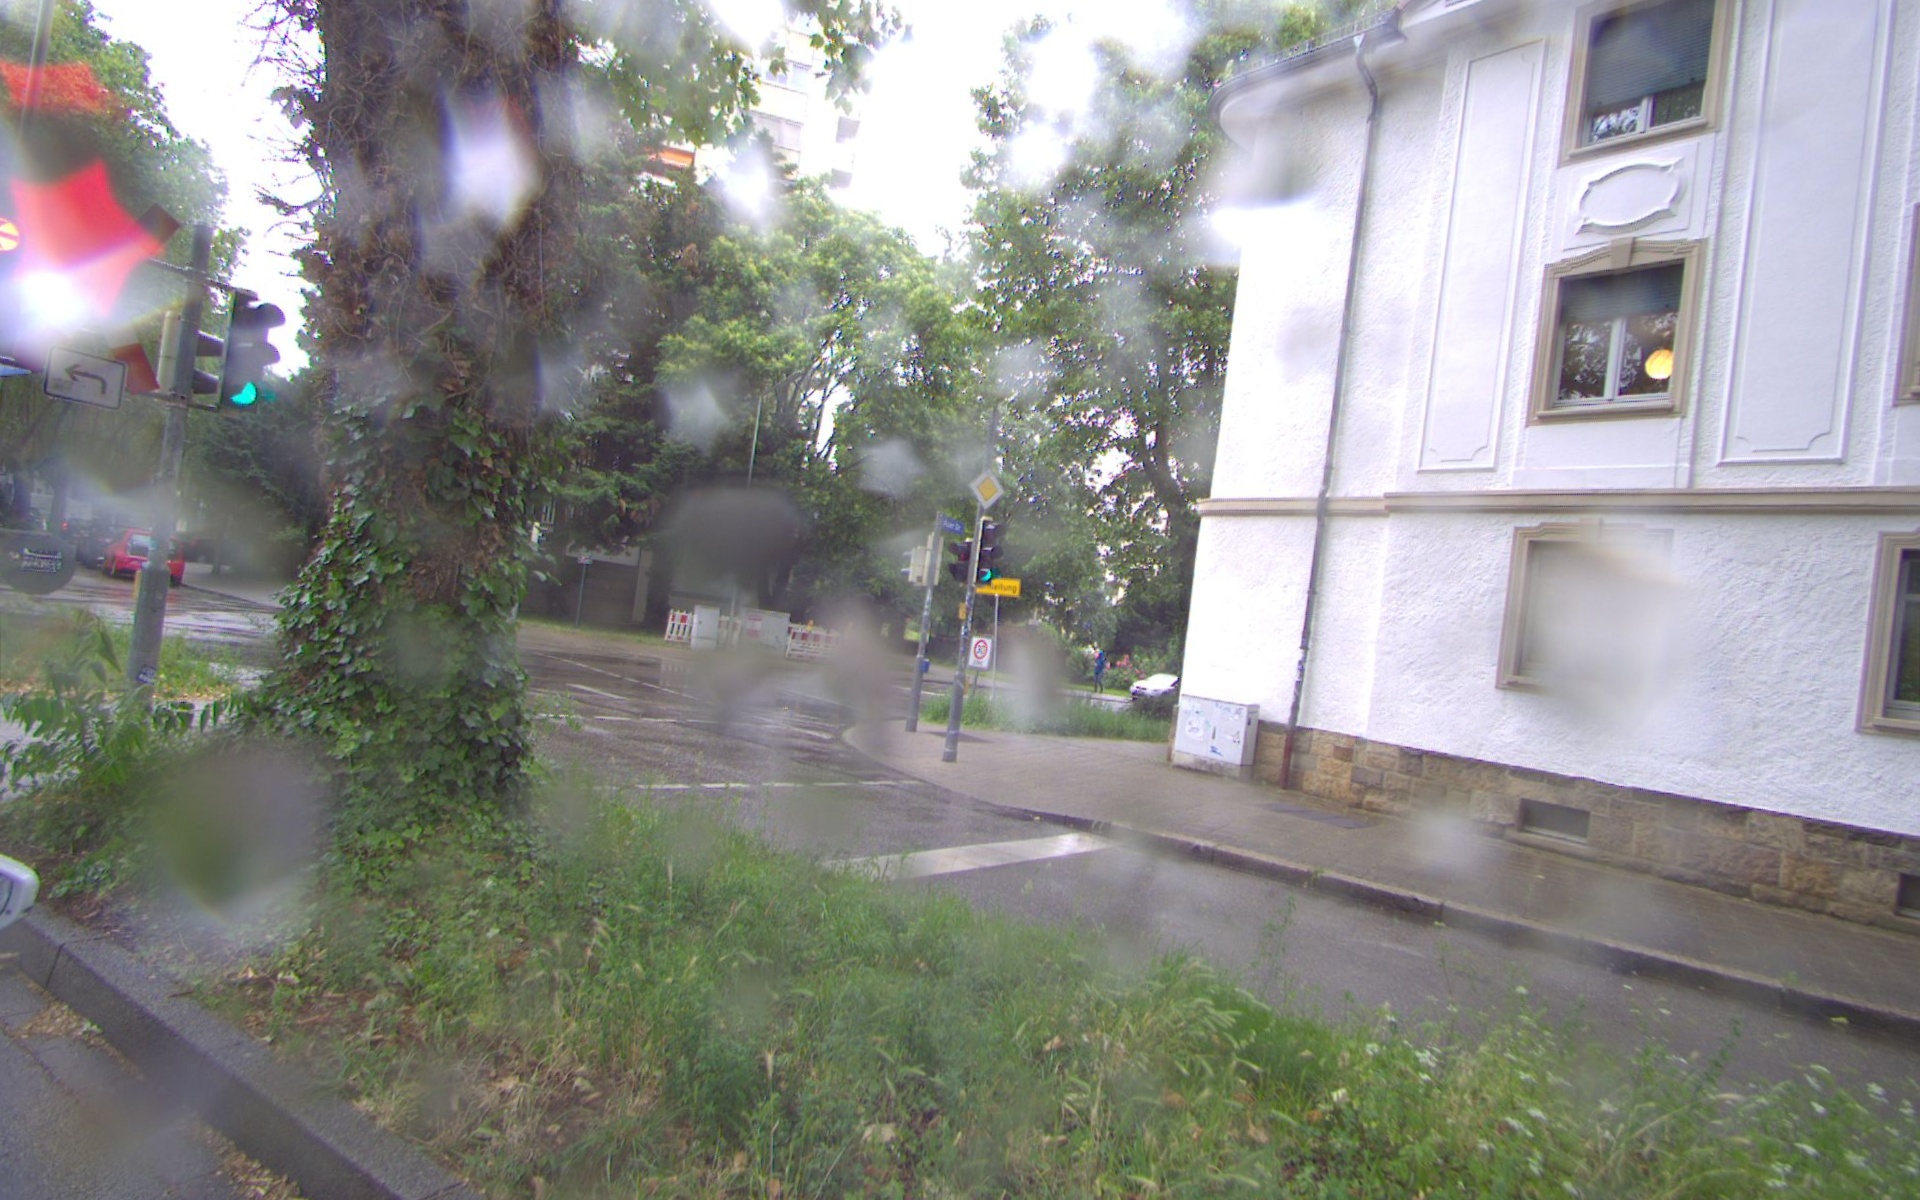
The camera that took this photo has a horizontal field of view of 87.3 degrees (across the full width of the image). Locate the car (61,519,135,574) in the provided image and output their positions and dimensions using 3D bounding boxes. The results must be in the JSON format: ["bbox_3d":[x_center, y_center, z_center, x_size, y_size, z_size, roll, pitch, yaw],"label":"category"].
[{"bbox_3d":[-32.979,-2.075,38.446,1.779,1.747,3.951,9,-2,-44],"label":"car"}]

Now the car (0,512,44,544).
[{"bbox_3d":[-56.204,-4.371,58.616,1.974,1.565,3.980,6,-3,44],"label":"car"}]

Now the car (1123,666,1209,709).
[{"bbox_3d":[9.414,4.004,45.804,1.829,1.473,3.979,6,-3,45],"label":"car"}]

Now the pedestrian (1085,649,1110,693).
[{"bbox_3d":[6.238,3.215,45.635,0.670,1.863,0.713,6,-1,44],"label":"pedestrian"}]

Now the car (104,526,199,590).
[{"bbox_3d":[-24.826,-1.307,30.836,1.788,1.515,3.950,10,-2,-44],"label":"car"}]

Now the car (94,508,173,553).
[{"bbox_3d":[-69.653,-5.833,84.798,4.683,2.982,2.001,7,-1,1],"label":"car"}]

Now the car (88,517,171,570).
[{"bbox_3d":[-28.093,-1.935,33.992,1.780,1.363,3.879,10,-2,-44],"label":"car"}]

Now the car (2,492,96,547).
[{"bbox_3d":[-61.112,-5.385,67.519,4.680,2.982,2.043,7,-1,12],"label":"car"}]

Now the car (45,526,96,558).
[{"bbox_3d":[-49.448,-3.224,55.992,1.673,1.491,3.626,8,-2,-37],"label":"car"}]
